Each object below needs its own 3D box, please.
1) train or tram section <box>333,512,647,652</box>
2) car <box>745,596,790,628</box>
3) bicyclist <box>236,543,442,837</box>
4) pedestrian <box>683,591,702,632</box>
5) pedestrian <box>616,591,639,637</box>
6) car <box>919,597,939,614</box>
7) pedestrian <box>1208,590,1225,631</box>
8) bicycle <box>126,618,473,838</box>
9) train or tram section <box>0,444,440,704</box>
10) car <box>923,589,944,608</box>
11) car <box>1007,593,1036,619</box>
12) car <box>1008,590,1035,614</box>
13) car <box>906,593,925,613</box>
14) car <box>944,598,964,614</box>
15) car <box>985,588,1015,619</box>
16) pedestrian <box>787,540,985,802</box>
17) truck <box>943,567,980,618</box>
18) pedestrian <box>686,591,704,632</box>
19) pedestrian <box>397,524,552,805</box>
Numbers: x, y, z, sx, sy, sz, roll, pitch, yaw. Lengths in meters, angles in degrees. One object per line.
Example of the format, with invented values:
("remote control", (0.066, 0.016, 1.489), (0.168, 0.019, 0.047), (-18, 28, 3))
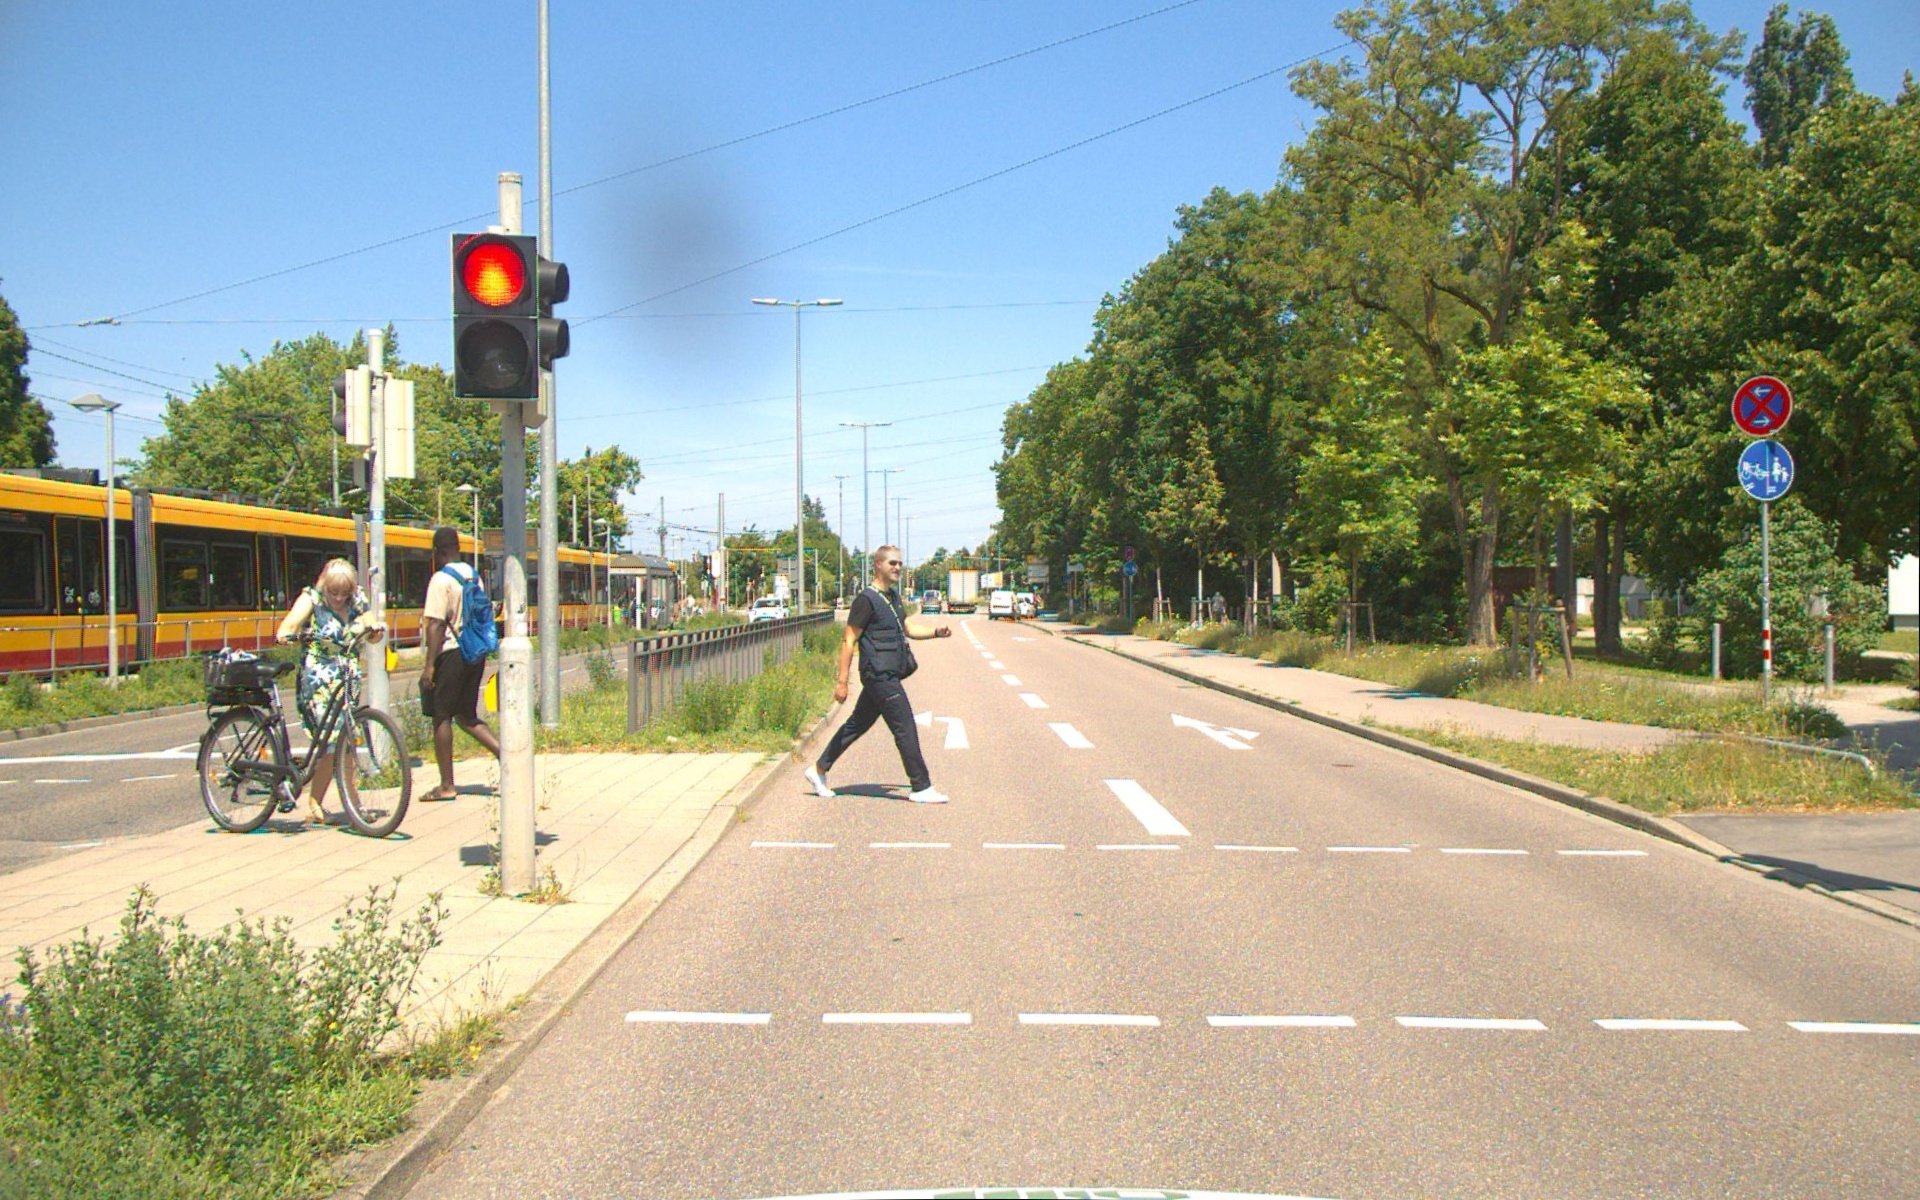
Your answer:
("train or tram section", (-16.106, -0.561, 62.256), (2.871, 3.856, 33.081), (0, 0, -1))
("car", (-9.344, 0.559, 80.461), (1.807, 1.521, 3.790), (0, 0, -1))
("bicyclist", (-3.723, 0.525, 9.941), (0.937, 1.696, 0.581), (-2, 1, 17))
("pedestrian", (-13.463, 0.587, 83.362), (0.798, 2.049, 0.938), (0, 0, -1))
("pedestrian", (-13.881, 0.590, 69.035), (0.769, 1.901, 0.817), (0, 0, -1))
("car", (-2.688, 0.449, 144.037), (1.774, 1.490, 3.999), (0, 0, -1))
("pedestrian", (9.263, 0.390, 59.690), (0.591, 1.463, 0.556), (0, 0, 6))
("bicycle", (-3.833, 0.734, 9.591), (1.916, 1.181, 0.541), (-2, 1, 17))
("train or tram section", (-15.641, -0.406, 30.755), (2.897, 3.815, 30.027), (0, 0, -1))
("car", (-2.604, -0.131, 163.415), (1.953, 1.847, 3.999), (1, 0, -1))
("car", (4.185, 0.394, 112.502), (1.743, 1.698, 3.999), (0, 0, -1))
("car", (4.409, 0.113, 118.853), (1.743, 1.698, 3.999), (0, 0, -1))
("car", (-4.693, 0.325, 175.089), (1.953, 2.049, 3.999), (0, 0, -1))
("car", (-0.586, 0.556, 153.599), (1.774, 1.490, 3.999), (0, 0, -1))
("car", (2.523, 0.216, 105.111), (1.743, 1.937, 3.999), (0, 0, -1))
("pedestrian", (-0.536, 0.498, 12.064), (1.162, 1.809, 0.838), (0, -2, 30))
("truck", (0.074, -0.648, 146.121), (3.140, 4.435, 6.559), (0, 0, -1))
("pedestrian", (-13.526, 0.591, 84.481), (0.798, 2.049, 0.938), (0, 0, -1))
("pedestrian", (-3.226, 0.404, 11.048), (0.823, 1.808, 0.720), (1, 2, -1))
